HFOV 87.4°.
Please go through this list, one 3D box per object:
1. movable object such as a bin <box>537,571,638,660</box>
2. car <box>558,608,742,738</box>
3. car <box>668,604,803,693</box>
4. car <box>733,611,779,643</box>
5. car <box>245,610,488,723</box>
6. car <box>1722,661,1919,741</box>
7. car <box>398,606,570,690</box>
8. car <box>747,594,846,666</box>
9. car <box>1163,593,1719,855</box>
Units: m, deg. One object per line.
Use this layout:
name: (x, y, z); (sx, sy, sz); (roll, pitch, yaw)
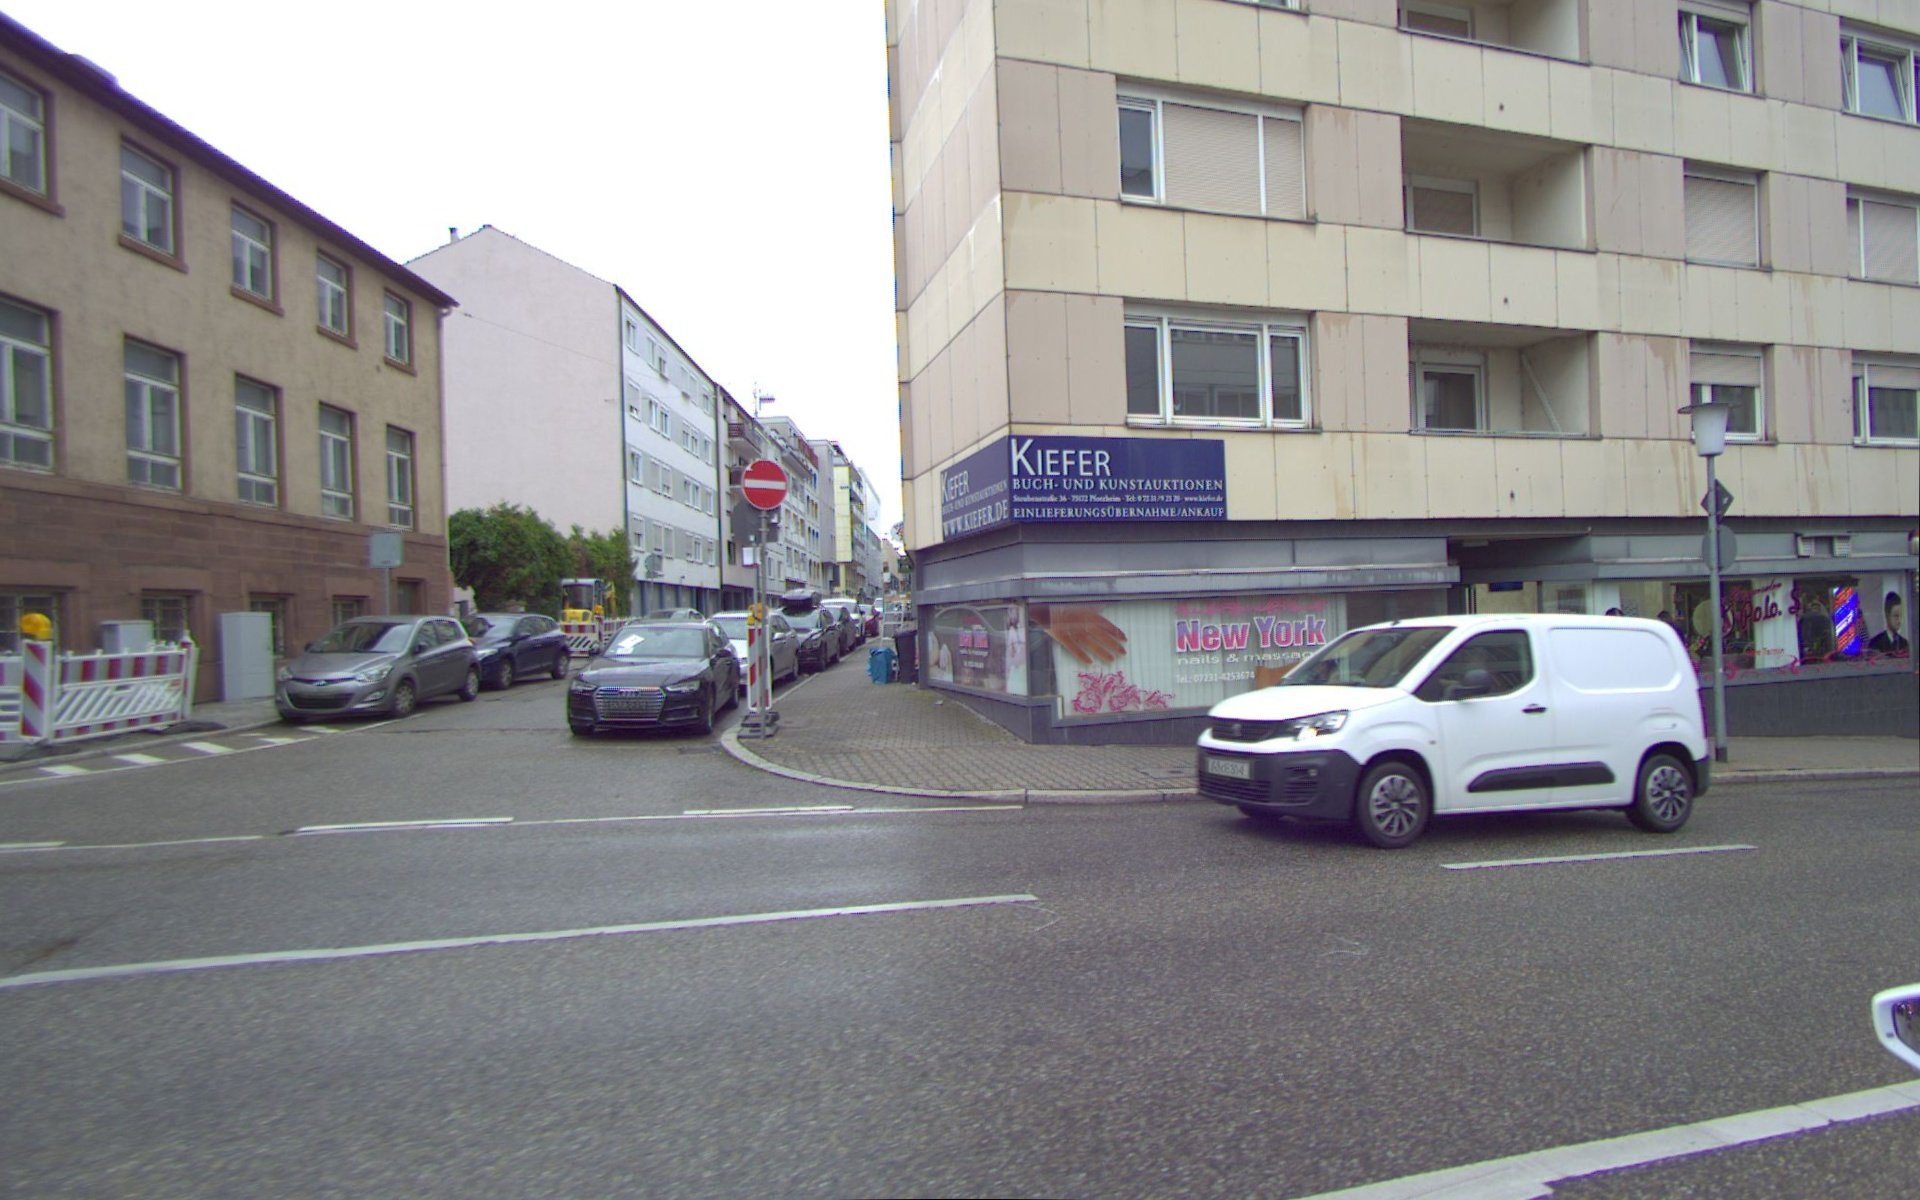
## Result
movable object such as a bin: (-11.171, 0.425, 30.424); (1.720, 2.466, 3.998); (-2, 0, -4)
car: (-4.216, 0.903, 14.333); (1.721, 1.524, 4.360); (1, 0, -7)
car: (-4.233, 0.859, 19.541); (1.719, 1.486, 4.000); (1, 1, 0)
car: (-10.492, 1.339, 51.846); (1.720, 1.486, 3.998); (-2, 0, -4)
car: (-9.180, 0.944, 15.940); (1.720, 1.486, 3.811); (-2, 0, -4)
car: (17.329, 1.927, 19.234); (1.655, 1.366, 3.982); (-1, -8, -24)
car: (-9.611, 0.913, 20.590); (1.719, 1.486, 3.514); (-2, 0, 2)
car: (-3.888, 0.673, 24.463); (1.719, 1.604, 4.000); (1, 0, 0)
car: (4.057, 0.952, 8.601); (4.199, 1.827, 1.860); (1, -3, -19)
